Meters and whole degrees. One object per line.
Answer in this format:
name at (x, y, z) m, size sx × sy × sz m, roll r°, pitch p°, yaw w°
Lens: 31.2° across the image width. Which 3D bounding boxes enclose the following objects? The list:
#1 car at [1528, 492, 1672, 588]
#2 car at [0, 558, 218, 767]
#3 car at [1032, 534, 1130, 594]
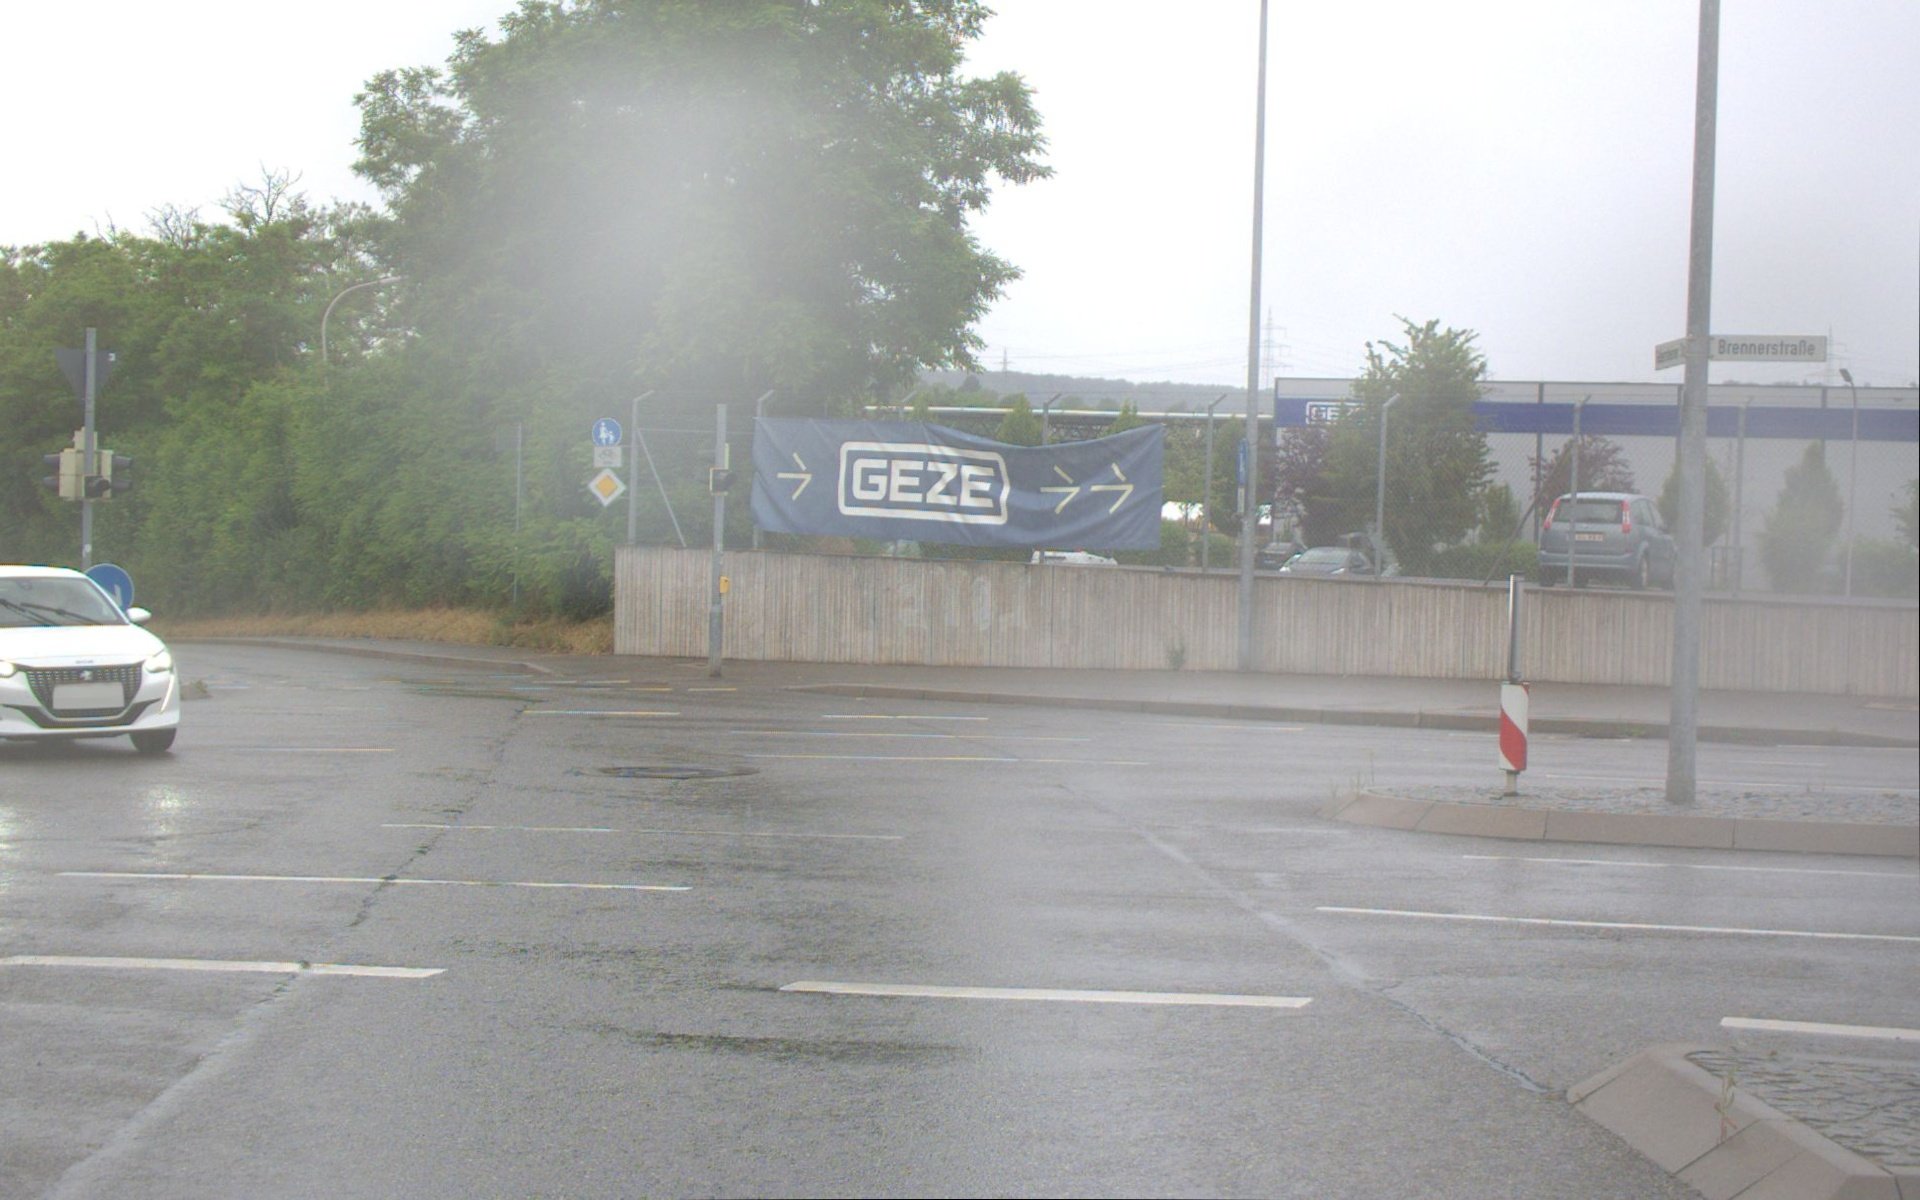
car at (10.718, -0.987, 57.420) m, size 1.744 × 1.548 × 3.527 m, roll 1°, pitch 1°, yaw 21°
car at (-7.371, 0.429, 26.913) m, size 1.865 × 1.503 × 3.981 m, roll 0°, pitch 1°, yaw -31°
car at (3.402, -0.997, 95.887) m, size 1.668 × 1.601 × 3.527 m, roll 1°, pitch 1°, yaw 21°
